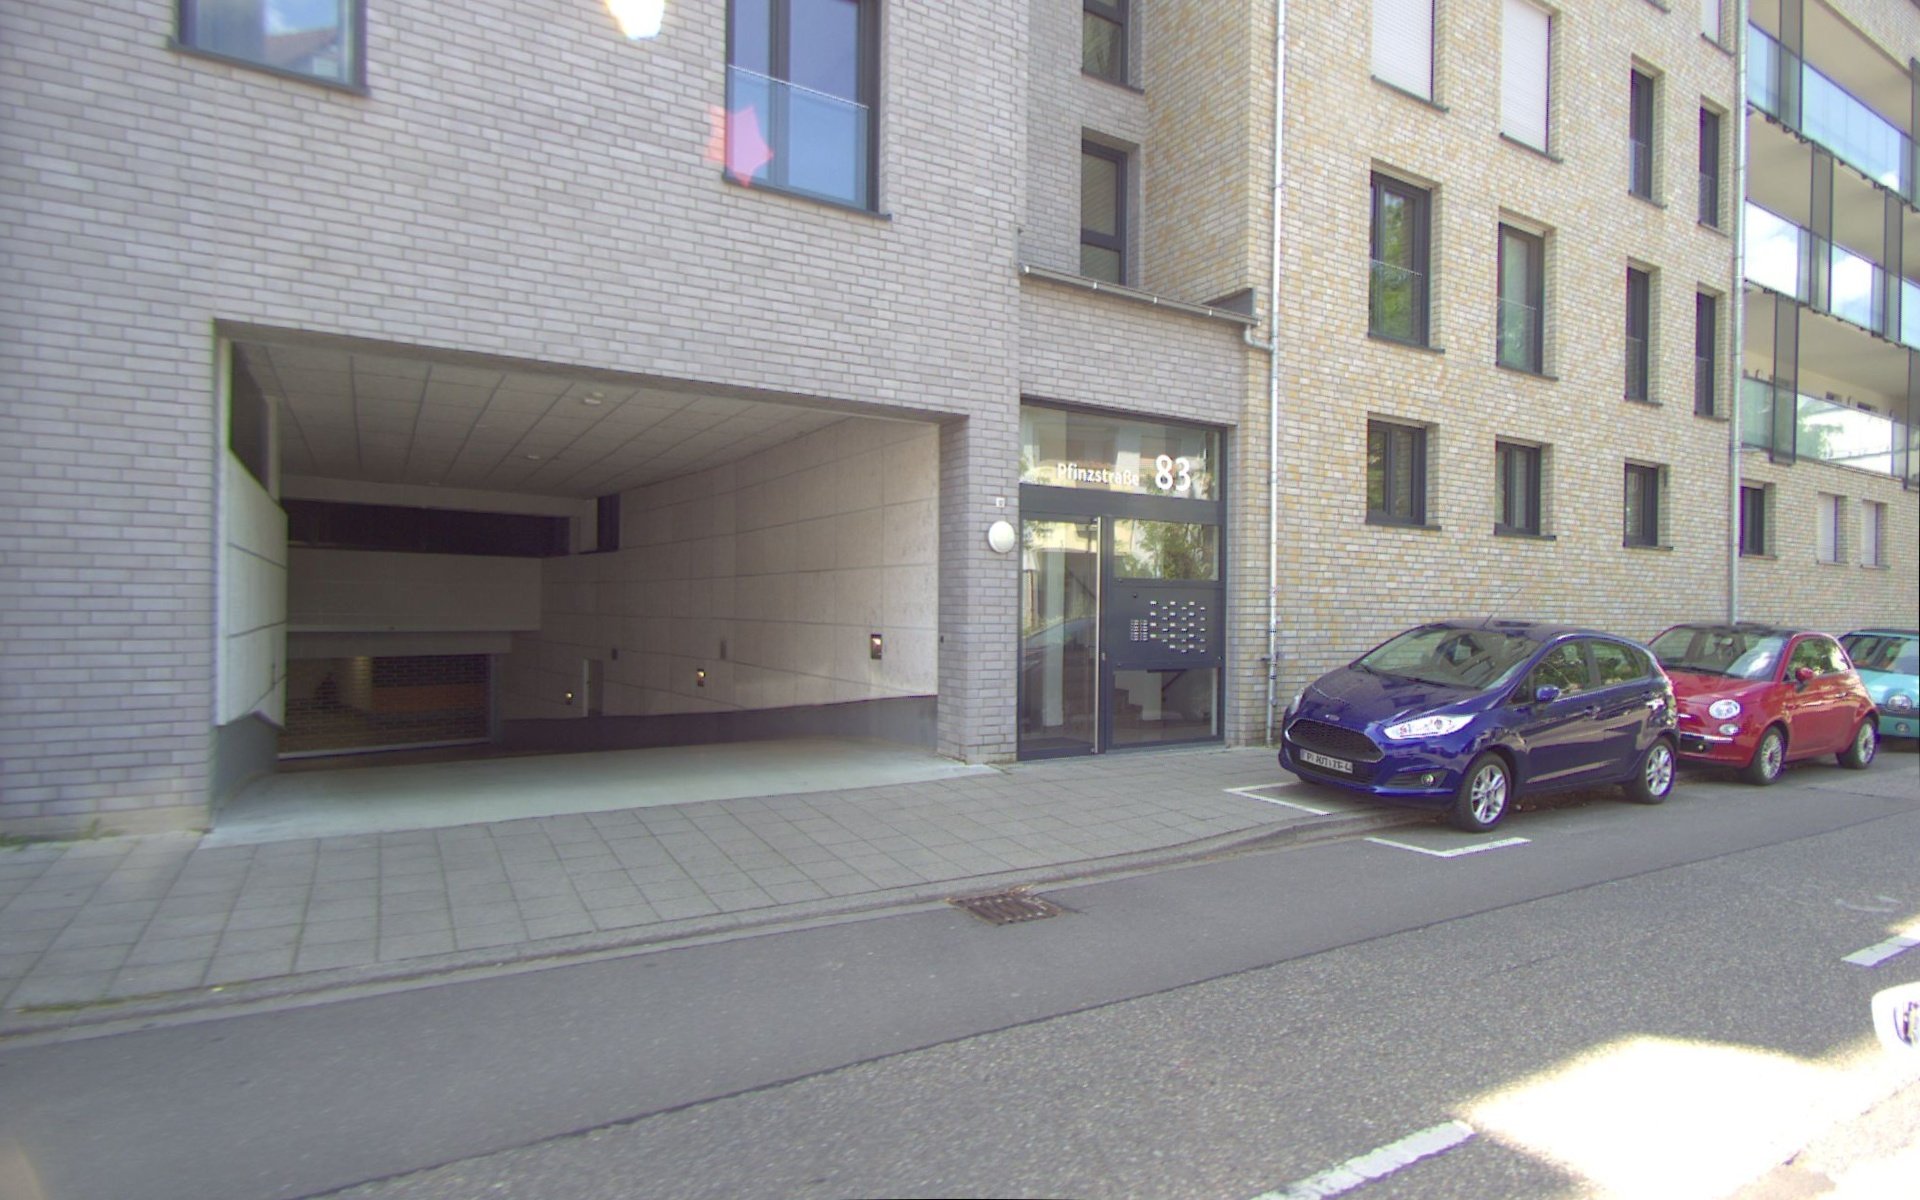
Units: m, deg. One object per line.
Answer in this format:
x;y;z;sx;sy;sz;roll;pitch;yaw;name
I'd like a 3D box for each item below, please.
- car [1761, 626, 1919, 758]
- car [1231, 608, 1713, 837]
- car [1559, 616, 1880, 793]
12.565;1.145;13.548;3.662;1.476;1.582;1;1;-32;car
4.357;0.864;8.430;3.958;1.476;1.714;1;1;-30;car
8.183;0.995;10.771;3.531;1.574;1.582;1;0;-32;car
